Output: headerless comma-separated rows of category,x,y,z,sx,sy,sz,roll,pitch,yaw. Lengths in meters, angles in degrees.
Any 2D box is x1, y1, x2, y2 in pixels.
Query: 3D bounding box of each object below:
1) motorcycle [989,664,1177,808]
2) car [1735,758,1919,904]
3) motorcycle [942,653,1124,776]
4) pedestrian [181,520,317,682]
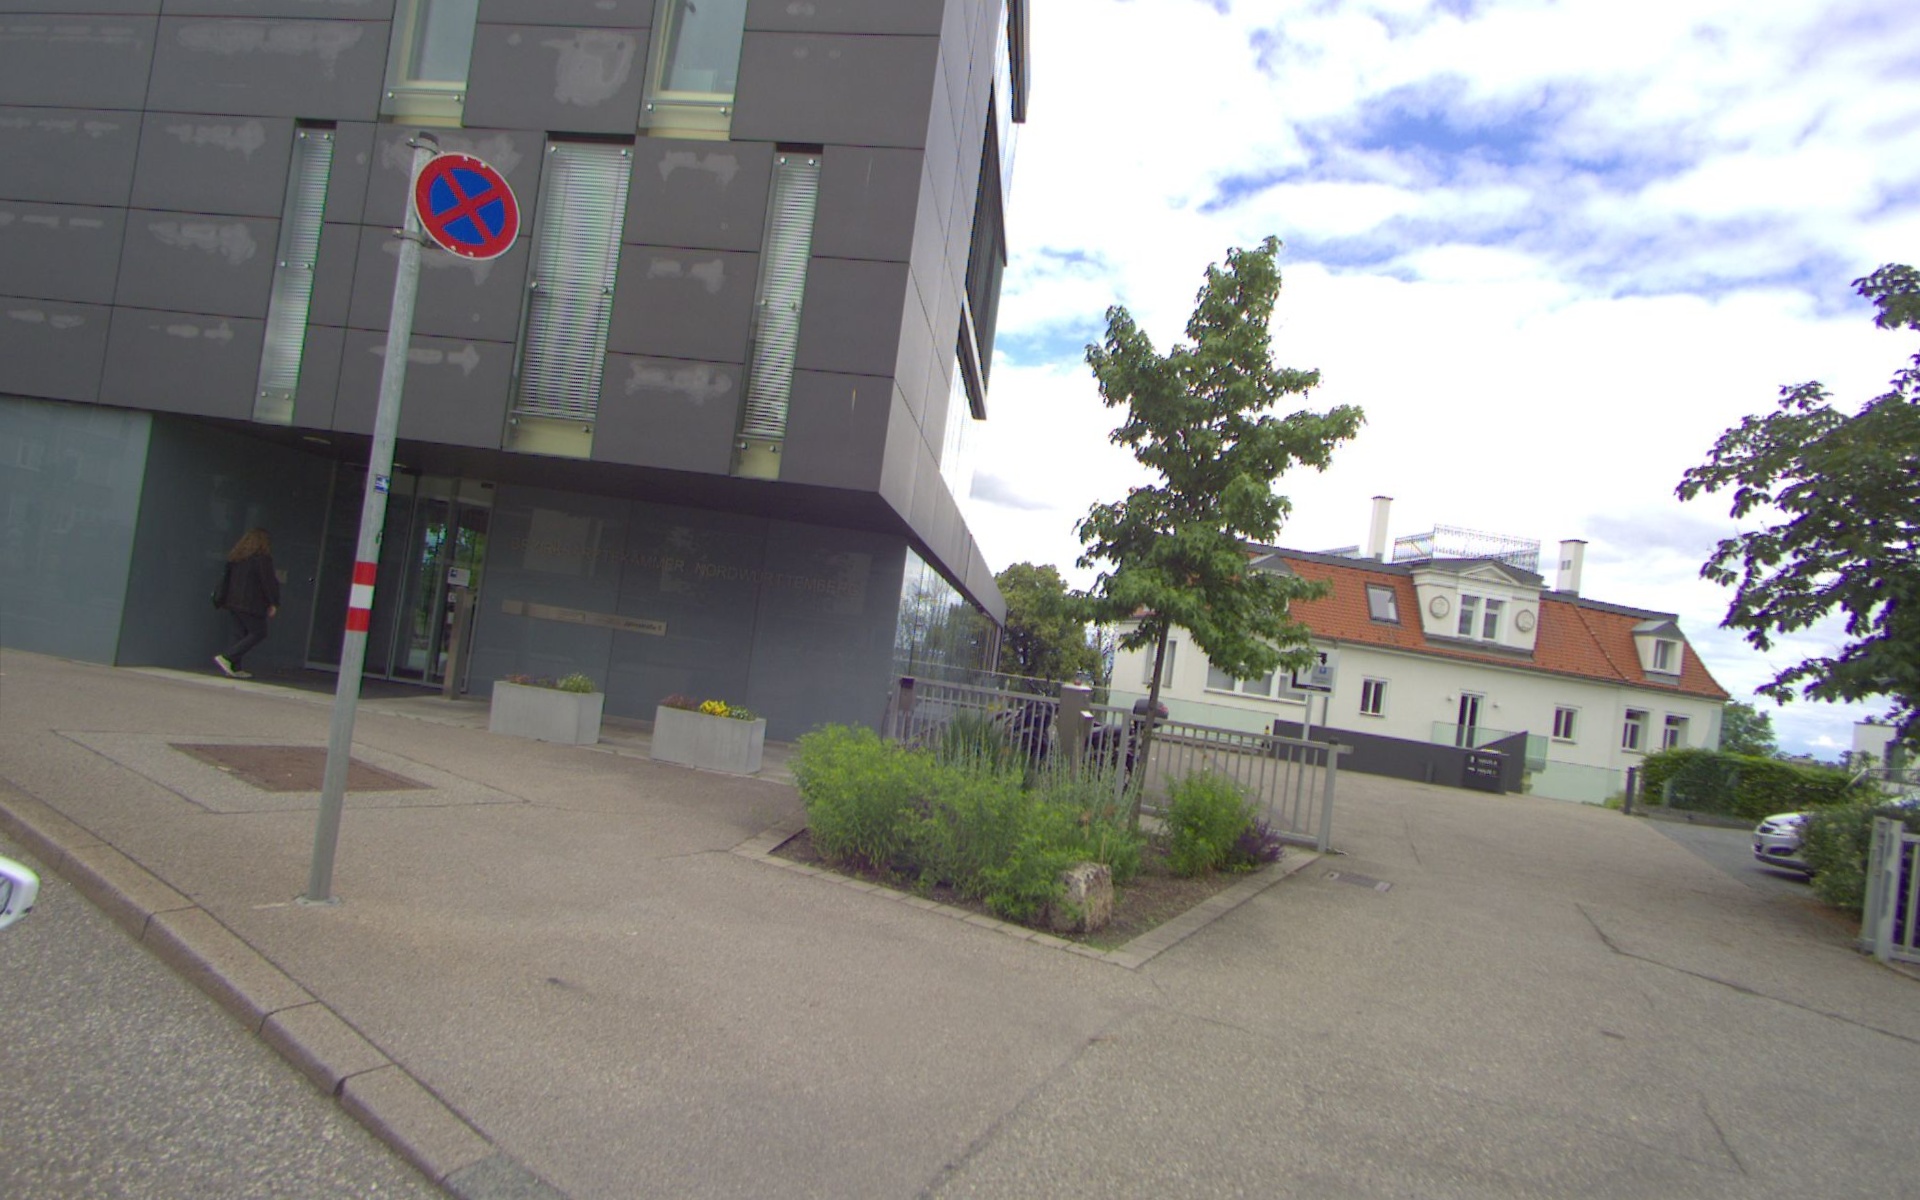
motorcycle,1.542,1.666,12.597,2.084,1.409,0.671,8,-1,17
car,12.599,3.072,12.695,4.146,1.500,1.620,5,-3,29
motorcycle,1.060,1.644,14.681,2.417,1.409,0.671,7,-2,17
pedestrian,-8.118,0.028,11.510,0.701,1.713,0.865,7,-2,27
